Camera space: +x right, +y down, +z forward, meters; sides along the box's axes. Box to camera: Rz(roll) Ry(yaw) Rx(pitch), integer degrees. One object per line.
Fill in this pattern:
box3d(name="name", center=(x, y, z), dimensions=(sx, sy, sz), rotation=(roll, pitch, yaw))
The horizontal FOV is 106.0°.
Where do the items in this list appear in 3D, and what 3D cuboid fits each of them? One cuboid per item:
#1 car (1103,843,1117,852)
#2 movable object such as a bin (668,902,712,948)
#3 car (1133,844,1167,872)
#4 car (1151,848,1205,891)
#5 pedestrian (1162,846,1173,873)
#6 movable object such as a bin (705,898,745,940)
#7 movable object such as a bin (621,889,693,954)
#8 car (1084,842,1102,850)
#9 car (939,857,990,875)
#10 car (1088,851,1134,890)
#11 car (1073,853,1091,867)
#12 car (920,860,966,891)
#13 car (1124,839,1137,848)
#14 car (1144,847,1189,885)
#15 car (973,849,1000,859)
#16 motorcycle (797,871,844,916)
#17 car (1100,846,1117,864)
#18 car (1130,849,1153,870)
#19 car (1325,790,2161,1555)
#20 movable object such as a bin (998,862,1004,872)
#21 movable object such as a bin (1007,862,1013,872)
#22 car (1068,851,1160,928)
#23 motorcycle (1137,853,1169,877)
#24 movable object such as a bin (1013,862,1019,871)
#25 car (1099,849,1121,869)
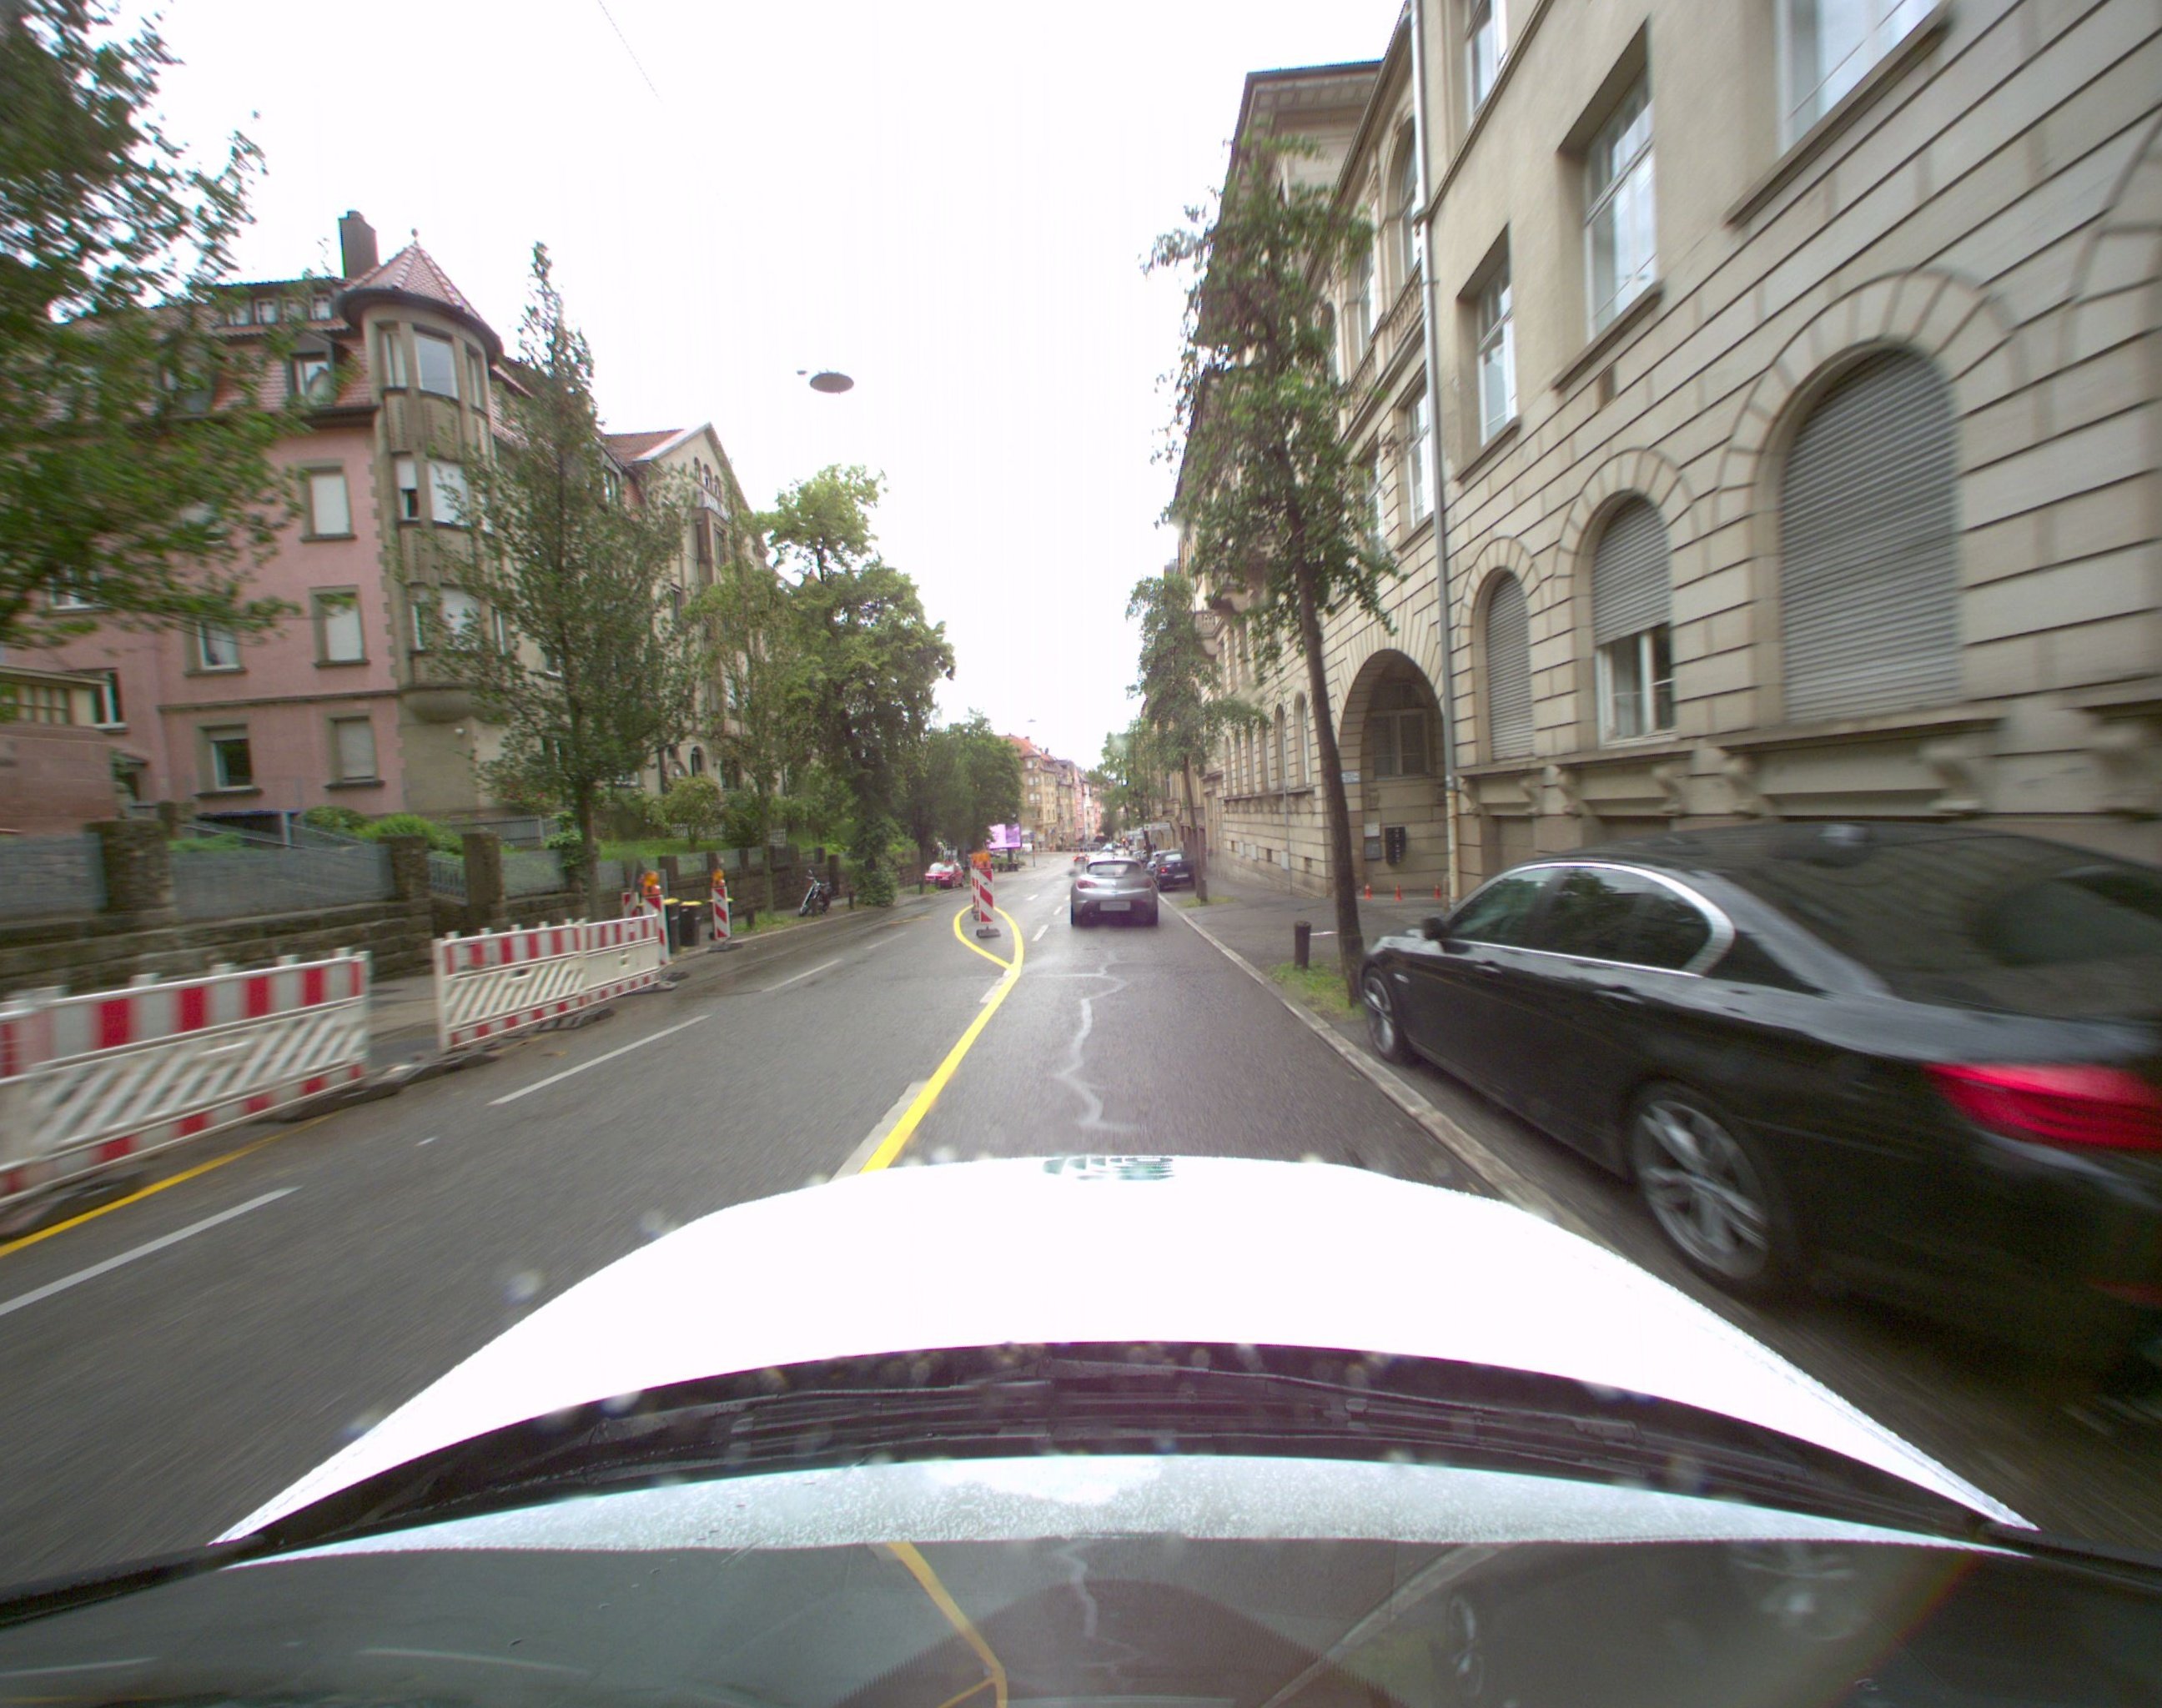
box3d(name="car", center=(5.501, -1.241, 154.898), dimensions=(1.980, 1.684, 4.013), rotation=(0, 0, 12))
box3d(name="movable object such as a bin", center=(-8.290, 1.490, 17.288), dimensions=(0.601, 0.907, 0.624), rotation=(-1, 0, 3))
box3d(name="car", center=(4.242, 0.228, 50.582), dimensions=(1.632, 1.602, 3.856), rotation=(-4, 0, -1))
box3d(name="car", center=(3.584, 0.526, 30.635), dimensions=(1.631, 1.429, 3.377), rotation=(-4, 0, 1))
box3d(name="pedestrian", center=(6.131, 0.375, 57.622), dimensions=(0.713, 1.870, 0.636), rotation=(-1, -1, 1))
box3d(name="movable object such as a bin", center=(-8.177, 1.482, 18.699), dimensions=(0.601, 0.907, 0.624), rotation=(-1, 0, 3))
box3d(name="movable object such as a bin", center=(-8.490, 1.333, 16.327), dimensions=(0.941, 1.214, 0.857), rotation=(-1, 0, 2))
box3d(name="car", center=(2.621, -1.726, 179.392), dimensions=(3.972, 1.750, 2.001), rotation=(0, 0, 1))
box3d(name="car", center=(-10.508, 1.077, 73.606), dimensions=(4.321, 1.243, 1.633), rotation=(-4, 0, -18))
box3d(name="car", center=(1.257, 0.673, 35.596), dimensions=(1.767, 1.504, 3.867), rotation=(-2, 1, -1))
box3d(name="car", center=(0.138, 0.720, 97.347), dimensions=(1.986, 1.500, 4.002), rotation=(-3, 0, 2))
box3d(name="car", center=(-7.552, 1.142, 44.892), dimensions=(1.631, 1.439, 4.082), rotation=(-4, 0, 2))
box3d(name="car", center=(9.602, -2.056, 157.859), dimensions=(1.980, 1.684, 4.013), rotation=(0, 0, 12))
box3d(name="car", center=(3.711, 0.468, 35.749), dimensions=(1.631, 1.469, 3.860), rotation=(-4, 0, 2))
box3d(name="car", center=(-15.323, -0.048, 132.150), dimensions=(4.212, 1.585, 1.940), rotation=(-1, 0, 1))
box3d(name="motorcycle", center=(-8.452, 1.250, 26.534), dimensions=(0.762, 1.346, 2.204), rotation=(-1, -1, 2))
box3d(name="car", center=(2.780, 0.099, 82.009), dimensions=(1.650, 1.782, 3.667), rotation=(-2, 0, 2))
box3d(name="car", center=(4.816, 0.455, 65.340), dimensions=(1.631, 1.524, 3.860), rotation=(-4, 0, 2))
box3d(name="car", center=(2.827, 0.595, 4.024), dimensions=(1.752, 1.461, 4.724), rotation=(-6, 0, 1))
box3d(name="movable object such as a bin", center=(-8.643, 1.389, 87.807), dimensions=(0.624, 1.058, 0.633), rotation=(0, 0, -5))
box3d(name="movable object such as a bin", center=(-7.677, 1.349, 87.658), dimensions=(0.624, 1.058, 0.719), rotation=(0, 0, -4))
box3d(name="car", center=(0.685, 0.710, 18.245), dimensions=(1.805, 1.449, 3.869), rotation=(-2, 1, 1))
box3d(name="motorcycle", center=(3.905, 0.598, 44.155), dimensions=(0.649, 1.235, 1.994), rotation=(-2, -1, 41))
box3d(name="movable object such as a bin", center=(-7.073, 1.353, 88.805), dimensions=(0.657, 1.058, 0.626), rotation=(0, 0, -7))
box3d(name="car", center=(2.471, 0.444, 69.901), dimensions=(1.652, 1.543, 3.664), rotation=(-5, 0, -1))
